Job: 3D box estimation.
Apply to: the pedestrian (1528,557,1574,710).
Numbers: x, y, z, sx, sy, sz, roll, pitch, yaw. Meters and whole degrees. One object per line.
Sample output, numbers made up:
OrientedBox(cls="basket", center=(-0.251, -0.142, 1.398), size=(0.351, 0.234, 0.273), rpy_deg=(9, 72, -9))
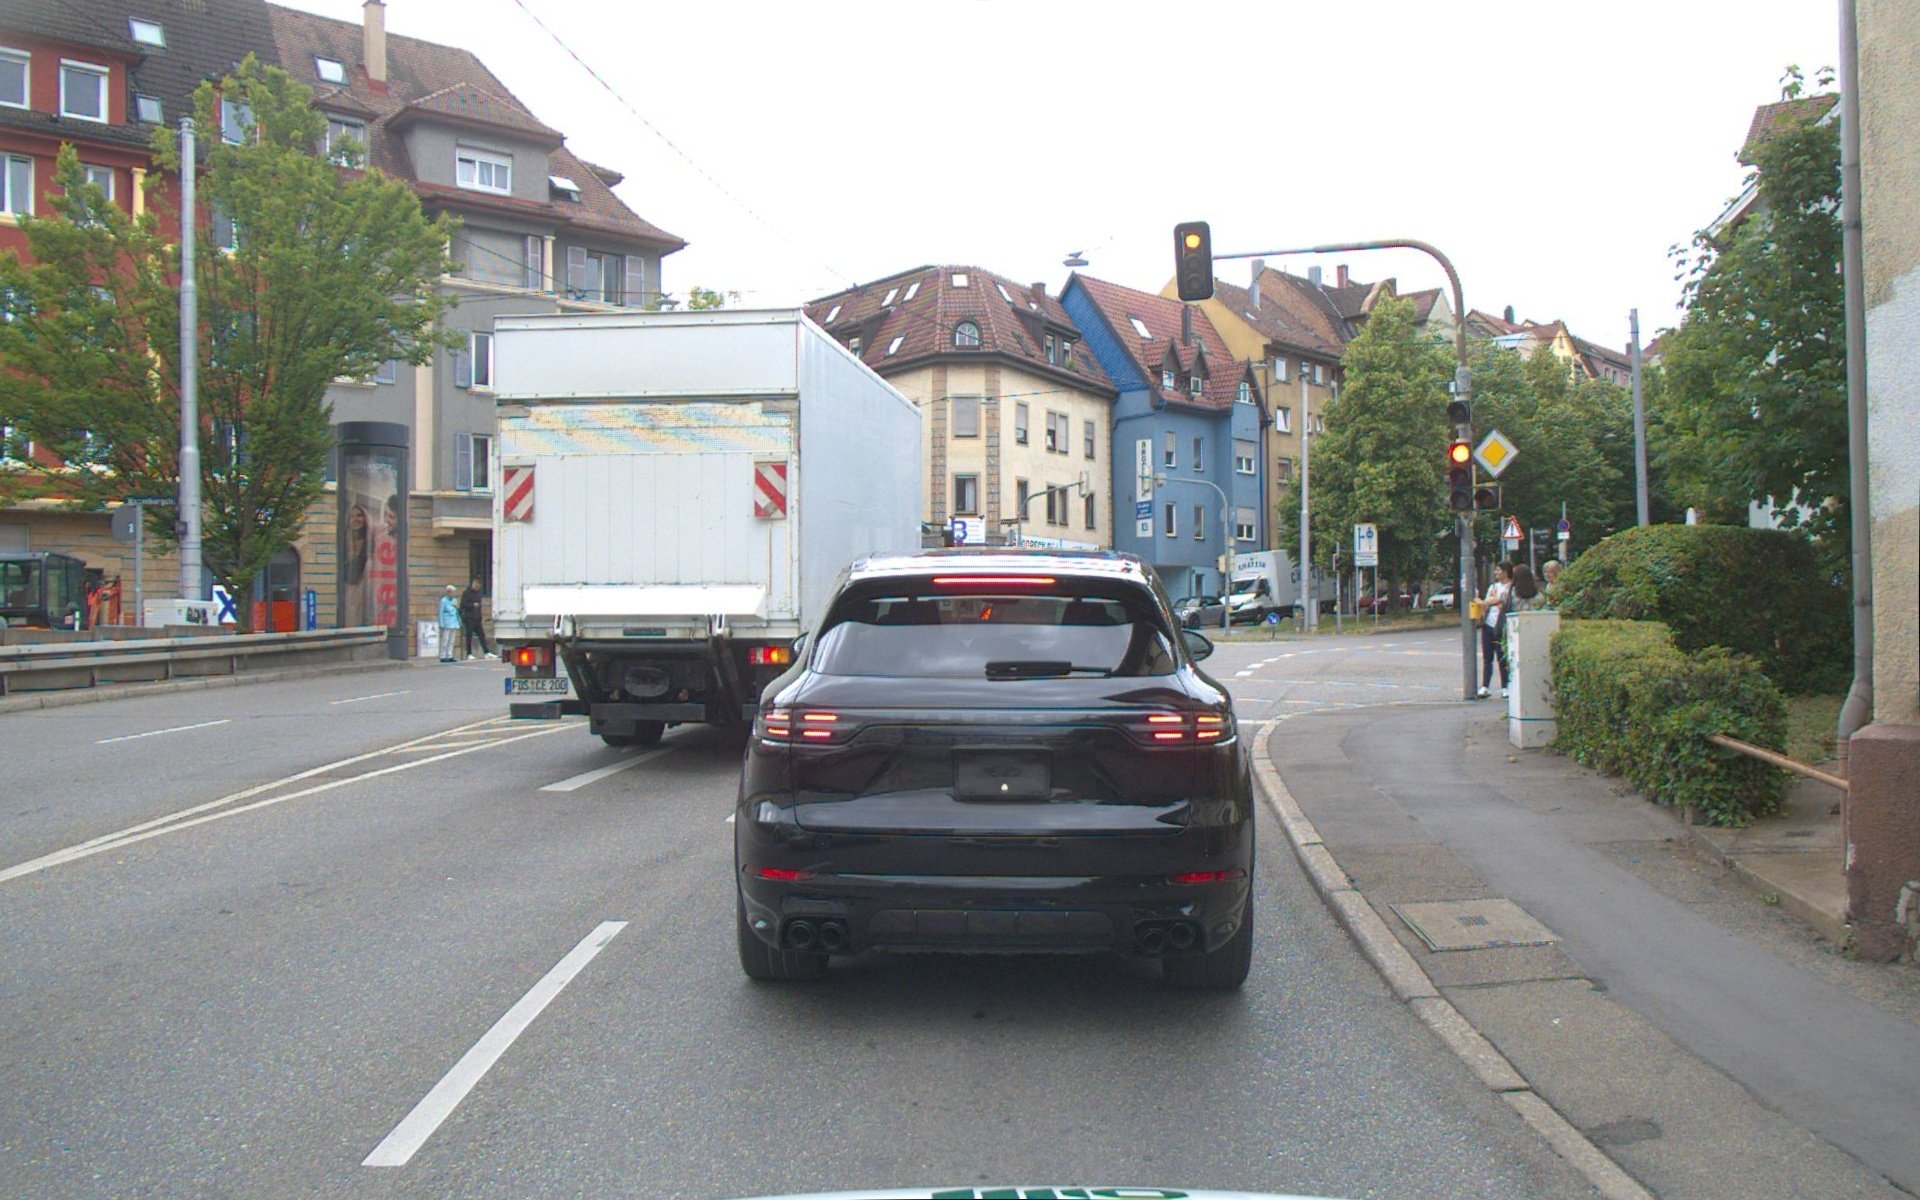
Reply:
OrientedBox(cls="pedestrian", center=(7.323, 0.410, 20.501), size=(0.453, 1.869, 0.324), rpy_deg=(2, -1, 14))

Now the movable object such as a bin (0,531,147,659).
OrientedBox(cls="movable object such as a bin", center=(-14.144, -0.088, 25.643), size=(1.870, 1.802, 3.986), rpy_deg=(2, 0, -14))

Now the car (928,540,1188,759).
OrientedBox(cls="car", center=(1.037, 0.391, 15.077), size=(1.951, 1.713, 4.003), rpy_deg=(0, 0, 10))

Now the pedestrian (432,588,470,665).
OrientedBox(cls="pedestrian", center=(-10.707, 0.559, 34.798), size=(0.577, 1.594, 0.486), rpy_deg=(2, -1, -1))

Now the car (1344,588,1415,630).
OrientedBox(cls="car", center=(21.955, 0.461, 86.505), size=(1.965, 2.049, 3.975), rpy_deg=(2, 0, 42))

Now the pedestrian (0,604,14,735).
OrientedBox(cls="pedestrian", center=(-13.280, 0.941, 22.569), size=(0.537, 1.760, 0.586), rpy_deg=(2, -1, -35))

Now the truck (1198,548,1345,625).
OrientedBox(cls="truck", center=(14.958, -0.598, 78.831), size=(2.830, 3.398, 8.744), rpy_deg=(2, 0, 41))

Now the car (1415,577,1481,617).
OrientedBox(cls="car", center=(27.239, -0.149, 92.287), size=(1.965, 2.049, 3.975), rpy_deg=(2, 0, 42))

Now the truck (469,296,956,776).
OrientedBox(cls="truck", center=(-1.938, -0.538, 16.713), size=(2.710, 3.637, 8.071), rpy_deg=(0, 1, 8))

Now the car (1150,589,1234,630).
OrientedBox(cls="car", center=(10.112, 0.405, 72.004), size=(1.961, 1.713, 3.983), rpy_deg=(0, 0, 37))

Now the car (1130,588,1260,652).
OrientedBox(cls="car", center=(7.858, 0.650, 55.490), size=(1.985, 2.049, 3.935), rpy_deg=(2, -1, -44))

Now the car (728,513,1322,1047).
OrientedBox(cls="car", center=(0.101, 0.553, 7.371), size=(1.939, 1.713, 3.997), rpy_deg=(0, 1, -4))

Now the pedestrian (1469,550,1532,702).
OrientedBox(cls="pedestrian", center=(6.748, 0.318, 20.670), size=(0.577, 1.851, 0.529), rpy_deg=(2, -1, 3))
